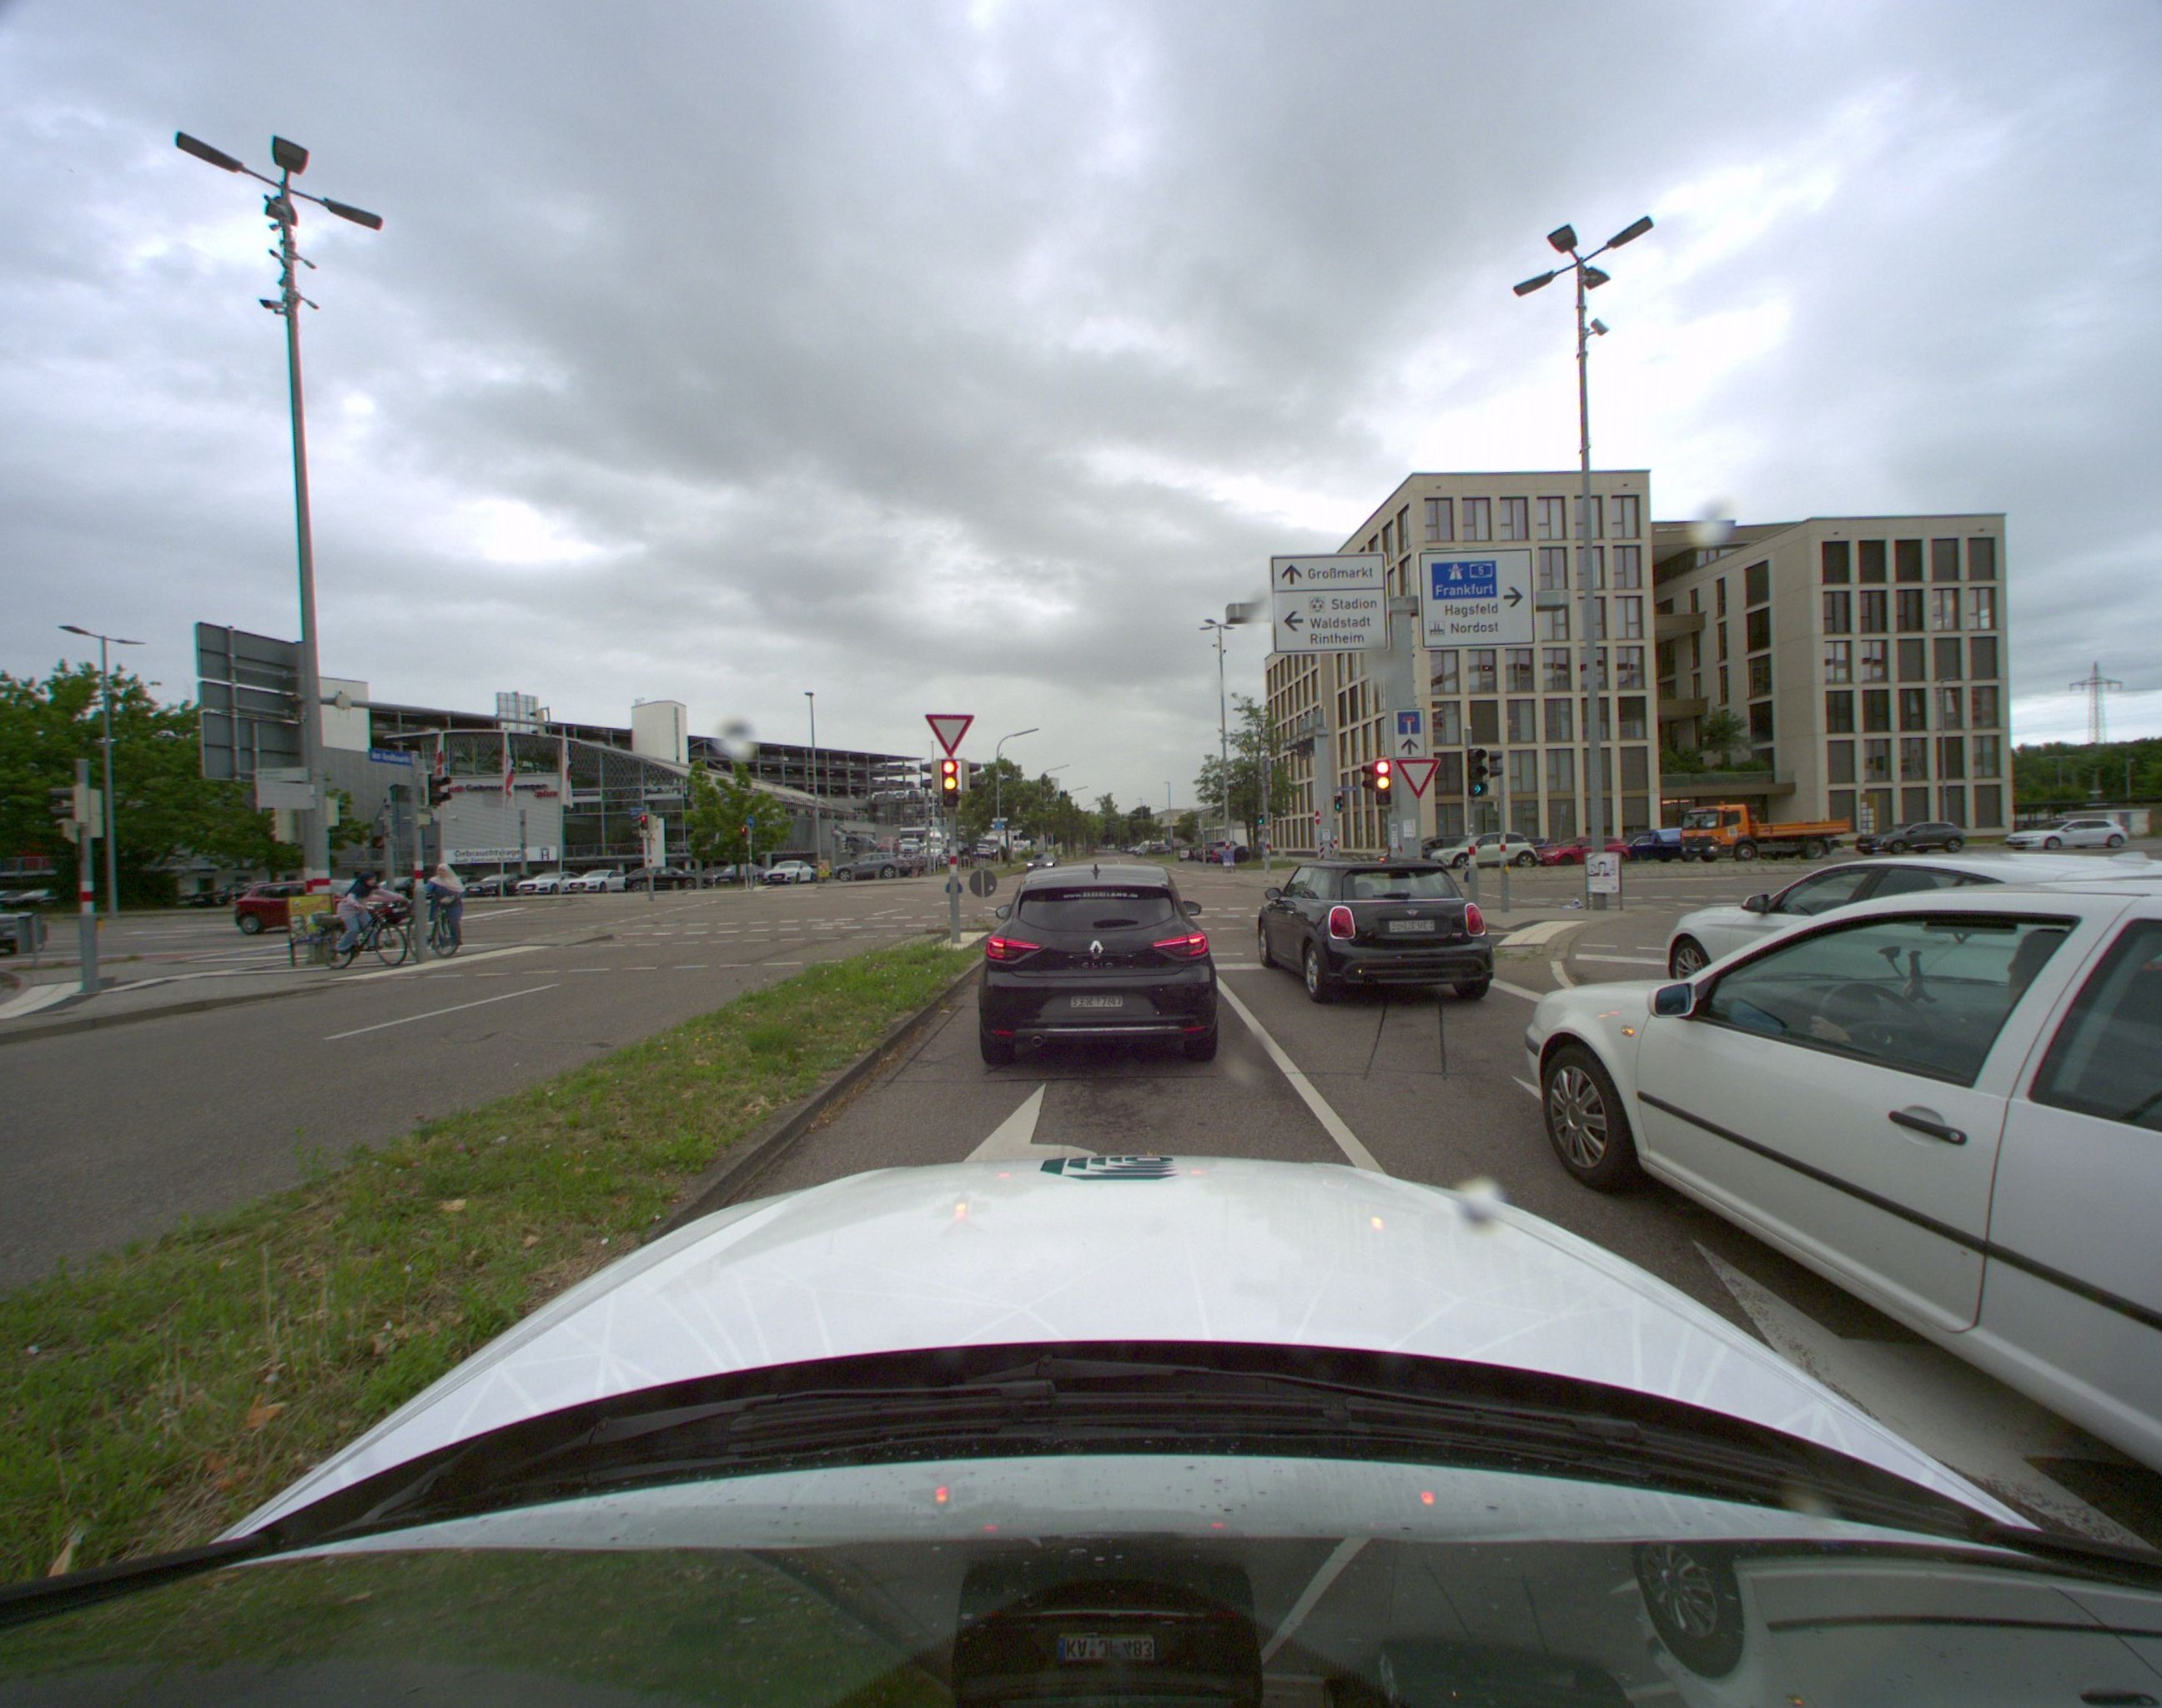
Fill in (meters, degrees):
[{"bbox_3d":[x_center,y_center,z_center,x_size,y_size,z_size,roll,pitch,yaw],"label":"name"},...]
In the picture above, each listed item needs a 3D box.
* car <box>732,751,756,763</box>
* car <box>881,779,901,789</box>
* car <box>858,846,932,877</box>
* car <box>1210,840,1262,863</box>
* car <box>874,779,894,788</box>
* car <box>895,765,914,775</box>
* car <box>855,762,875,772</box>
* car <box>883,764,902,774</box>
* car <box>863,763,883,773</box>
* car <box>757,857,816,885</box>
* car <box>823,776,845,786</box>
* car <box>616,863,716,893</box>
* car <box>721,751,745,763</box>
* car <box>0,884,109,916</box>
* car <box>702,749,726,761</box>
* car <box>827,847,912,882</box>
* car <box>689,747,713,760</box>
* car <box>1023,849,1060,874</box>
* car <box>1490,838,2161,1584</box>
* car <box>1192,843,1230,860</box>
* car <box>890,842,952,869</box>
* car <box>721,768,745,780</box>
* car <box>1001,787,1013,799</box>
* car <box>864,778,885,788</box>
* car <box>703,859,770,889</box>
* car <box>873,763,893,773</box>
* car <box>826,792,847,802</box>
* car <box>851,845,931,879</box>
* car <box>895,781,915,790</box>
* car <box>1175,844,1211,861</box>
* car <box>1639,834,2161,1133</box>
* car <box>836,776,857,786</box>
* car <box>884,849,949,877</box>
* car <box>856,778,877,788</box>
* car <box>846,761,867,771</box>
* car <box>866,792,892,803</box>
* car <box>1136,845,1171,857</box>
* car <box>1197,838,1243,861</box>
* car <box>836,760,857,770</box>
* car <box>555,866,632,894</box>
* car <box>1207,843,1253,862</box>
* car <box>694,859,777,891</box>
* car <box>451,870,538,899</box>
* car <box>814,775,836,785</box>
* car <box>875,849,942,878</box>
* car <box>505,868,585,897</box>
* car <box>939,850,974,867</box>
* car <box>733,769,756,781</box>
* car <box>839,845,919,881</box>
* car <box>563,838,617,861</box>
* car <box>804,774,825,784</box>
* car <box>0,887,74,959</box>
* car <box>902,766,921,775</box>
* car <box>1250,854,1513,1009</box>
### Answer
[{"bbox_3d":[-61.004,-17.579,147.427,3.948,1.667,2.013,-1,0,33],"label":"car"},{"bbox_3d":[-41.417,-15.269,177.704,3.948,1.667,2.013,-1,0,33],"label":"car"},{"bbox_3d":[-13.588,0.551,59.671,4.938,1.876,2.050,-4,-1,-5],"label":"car"},{"bbox_3d":[12.679,-0.191,66.522,4.153,1.768,1.867,-1,-1,-38],"label":"car"},{"bbox_3d":[-42.591,-15.196,175.773,3.948,1.667,2.013,-1,0,33],"label":"car"},{"bbox_3d":[-39.226,-18.697,181.201,3.948,1.667,2.013,-1,0,33],"label":"car"},{"bbox_3d":[-45.509,-18.267,171.697,3.948,1.667,2.013,-1,0,33],"label":"car"},{"bbox_3d":[-41.203,-18.542,177.892,3.948,1.667,2.013,-1,0,33],"label":"car"},{"bbox_3d":[-44.285,-18.397,173.647,3.948,1.667,2.013,-1,0,33],"label":"car"},{"bbox_3d":[-16.888,0.995,46.938,1.863,1.486,4.227,-3,-2,-1],"label":"car"},{"bbox_3d":[-49.776,-14.773,164.122,3.948,1.667,2.013,-1,0,33],"label":"car"},{"bbox_3d":[-23.739,1.414,46.721,4.726,1.486,1.891,-2,-3,-2],"label":"car"},{"bbox_3d":[-62.130,-17.375,145.271,3.948,1.667,2.013,-1,0,33],"label":"car"},{"bbox_3d":[-57.771,2.603,45.454,1.865,1.603,4.245,0,-6,-2],"label":"car"},{"bbox_3d":[-64.427,-17.378,142.846,3.948,1.667,2.013,-1,0,33],"label":"car"},{"bbox_3d":[-13.308,0.632,51.452,4.761,1.862,1.998,-4,0,-3],"label":"car"},{"bbox_3d":[-65.625,-17.388,140.698,3.948,1.667,2.013,-1,0,33],"label":"car"},{"bbox_3d":[-2.588,0.478,54.701,1.970,1.551,4.617,-2,1,3],"label":"car"},{"bbox_3d":[3.073,0.707,2.390,1.826,1.478,4.006,0,-1,2],"label":"car"},{"bbox_3d":[12.396,-0.213,77.528,1.676,1.511,3.840,-2,-1,45],"label":"car"},{"bbox_3d":[-13.790,0.131,70.548,4.882,2.013,1.998,-4,0,-3],"label":"car"},{"bbox_3d":[-62.081,-14.265,145.162,3.948,1.667,2.013,-1,0,33],"label":"car"},{"bbox_3d":[-14.524,-11.994,159.521,1.989,1.882,3.996,-2,-1,-2],"label":"car"},{"bbox_3d":[-43.953,-15.067,173.280,3.948,1.667,2.013,-1,0,33],"label":"car"},{"bbox_3d":[-19.691,1.190,46.814,2.059,1.486,4.511,-3,-2,-3],"label":"car"},{"bbox_3d":[-42.681,-18.552,175.817,3.948,1.667,2.013,-1,0,33],"label":"car"},{"bbox_3d":[-49.442,-11.513,164.712,3.948,1.667,2.013,-1,0,33],"label":"car"},{"bbox_3d":[-13.253,0.538,57.032,5.011,2.013,2.264,-4,0,-3],"label":"car"},{"bbox_3d":[-39.144,-15.214,181.003,3.948,1.667,2.013,-1,0,33],"label":"car"},{"bbox_3d":[11.565,-0.142,83.864,3.451,1.732,1.745,0,-1,-40],"label":"car"},{"bbox_3d":[6.136,0.620,5.840,1.819,1.410,4.206,0,-1,8],"label":"car"},{"bbox_3d":[-48.069,-14.898,166.653,3.948,1.667,2.013,-1,0,33],"label":"car"},{"bbox_3d":[-13.637,0.737,67.706,4.882,2.013,1.998,-4,0,-3],"label":"car"},{"bbox_3d":[-45.159,-14.992,171.346,3.948,1.667,2.013,-1,0,33],"label":"car"},{"bbox_3d":[-46.687,-18.292,169.099,3.948,1.667,2.013,-1,0,33],"label":"car"},{"bbox_3d":[-43.734,-12.227,176.262,5.263,1.945,2.225,-1,0,30],"label":"car"},{"bbox_3d":[10.973,-0.457,123.676,5.158,1.720,2.143,0,-1,-1],"label":"car"},{"bbox_3d":[12.671,-0.405,74.117,1.975,1.965,4.271,-2,-1,43],"label":"car"},{"bbox_3d":[-48.133,-18.218,166.830,3.948,1.667,2.013,-1,0,33],"label":"car"},{"bbox_3d":[-27.535,1.500,46.178,1.841,1.486,4.196,-2,-2,-1],"label":"car"},{"bbox_3d":[12.991,-0.148,70.905,4.157,1.551,1.865,-1,-1,-43],"label":"car"},{"bbox_3d":[-23.777,1.418,56.200,4.788,1.939,1.999,-2,0,-1],"label":"car"},{"bbox_3d":[-32.845,1.721,45.751,1.860,1.486,4.229,-2,-2,-1],"label":"car"},{"bbox_3d":[-51.017,-14.752,162.298,3.948,1.667,2.013,-1,0,33],"label":"car"},{"bbox_3d":[-13.725,0.746,64.986,4.882,2.013,1.998,-4,0,-3],"label":"car"},{"bbox_3d":[-30.098,1.612,45.894,1.865,1.486,4.041,-2,-2,-1],"label":"car"},{"bbox_3d":[-15.205,0.529,99.475,3.975,2.014,1.999,0,-1,-1],"label":"car"},{"bbox_3d":[-60.866,-14.258,147.168,3.948,1.667,2.013,-1,0,33],"label":"car"},{"bbox_3d":[-13.329,0.575,54.024,4.690,2.013,1.998,-4,0,-3],"label":"car"},{"bbox_3d":[-37.735,-0.311,62.707,1.815,1.662,3.996,0,-1,-3],"label":"car"},{"bbox_3d":[-52.402,-14.704,160.134,3.948,1.667,2.013,-1,0,33],"label":"car"},{"bbox_3d":[-28.825,1.835,20.448,4.311,1.636,1.884,-3,3,-4],"label":"car"},{"bbox_3d":[-38.050,-18.739,183.119,3.948,1.667,2.013,-1,0,33],"label":"car"},{"bbox_3d":[3.139,0.729,9.307,1.779,1.416,3.645,0,-1,2],"label":"car"}]
